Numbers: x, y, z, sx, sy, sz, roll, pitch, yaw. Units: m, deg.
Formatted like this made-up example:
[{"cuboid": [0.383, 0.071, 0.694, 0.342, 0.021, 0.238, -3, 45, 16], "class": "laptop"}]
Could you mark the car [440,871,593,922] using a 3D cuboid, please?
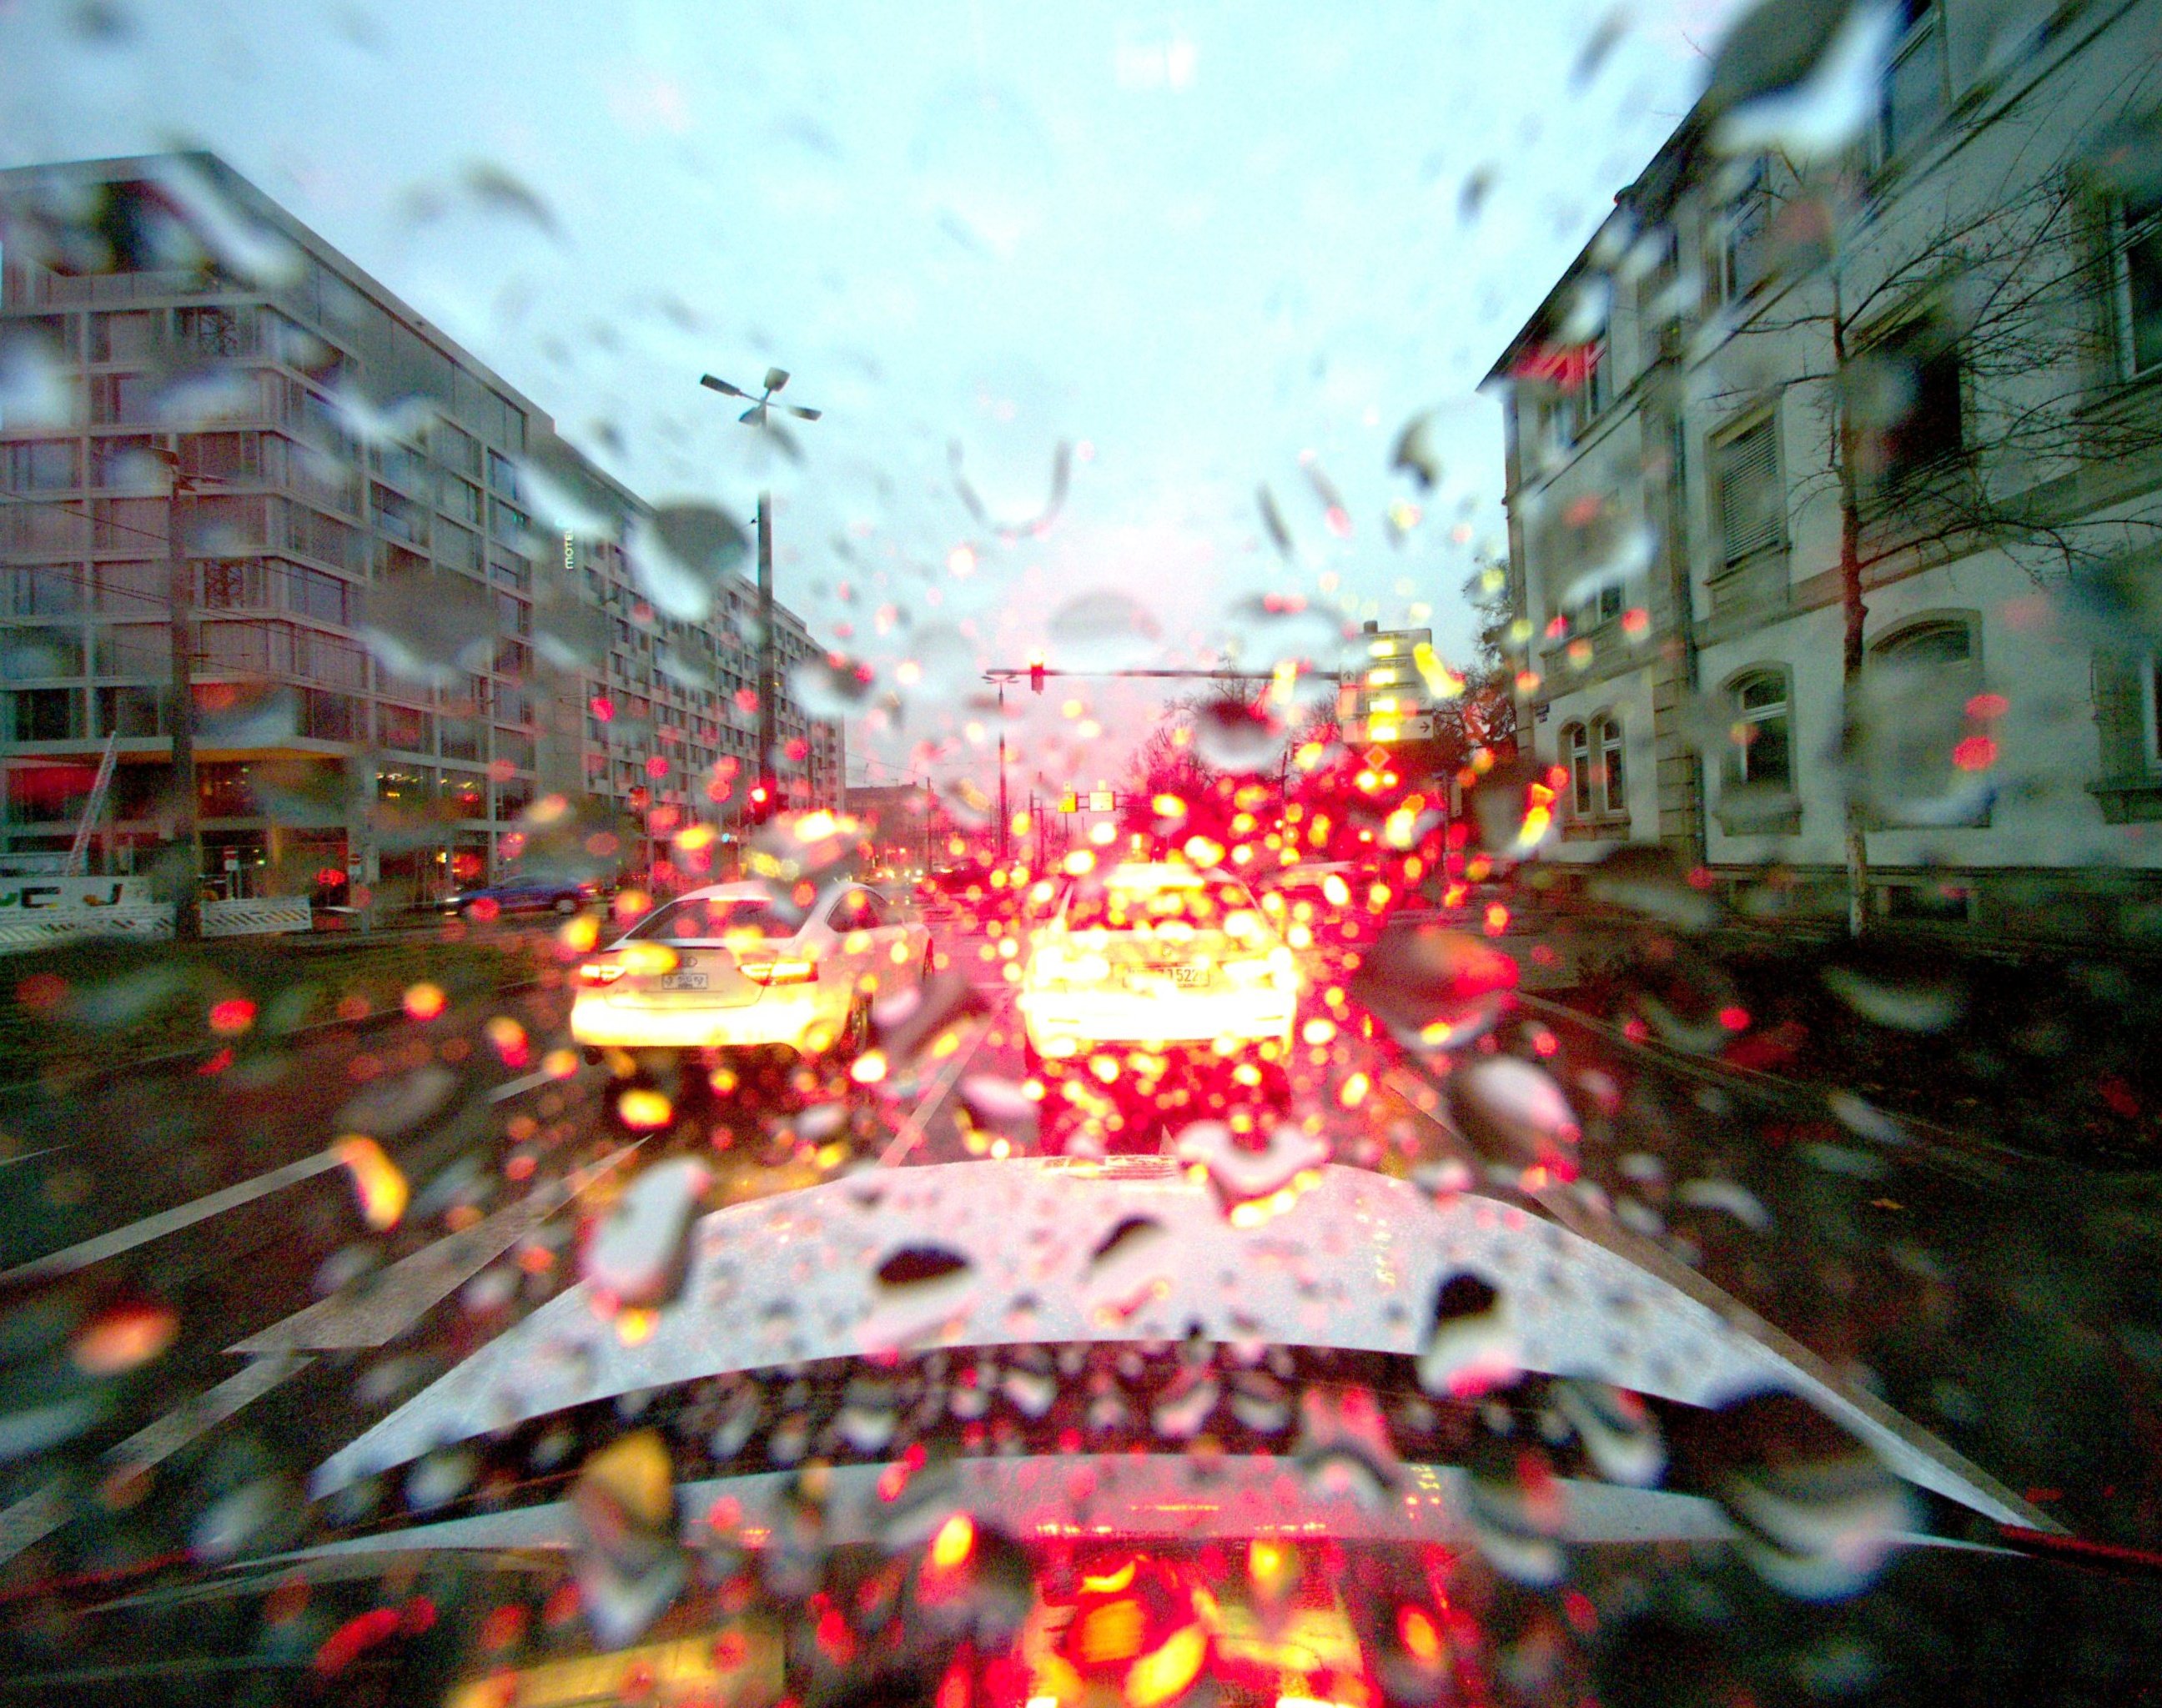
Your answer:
[{"cuboid": [-19.179, 1.399, 27.888, 4.006, 1.622, 1.705, 1, -1, -25], "class": "car"}]

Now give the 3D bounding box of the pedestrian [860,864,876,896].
[{"cuboid": [-11.715, 1.427, 44.770, 0.791, 1.712, 0.809, 0, -1, -13], "class": "pedestrian"}]

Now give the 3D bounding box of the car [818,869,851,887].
[{"cuboid": [-21.173, 2.071, 70.063, 1.669, 1.508, 3.697, 0, -1, 1], "class": "car"}]

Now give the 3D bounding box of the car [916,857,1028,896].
[{"cuboid": [-4.301, 0.904, 32.506, 4.070, 1.441, 1.843, -1, -1, 7], "class": "car"}]

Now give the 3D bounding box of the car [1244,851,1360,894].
[{"cuboid": [8.357, 0.706, 30.797, 4.060, 1.529, 1.848, -1, -1, 17], "class": "car"}]

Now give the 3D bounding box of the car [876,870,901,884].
[{"cuboid": [-20.621, 2.451, 87.185, 1.669, 1.508, 3.697, 0, -1, 1], "class": "car"}]

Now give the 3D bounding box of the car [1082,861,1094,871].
[{"cuboid": [1.170, 1.979, 135.797, 1.836, 1.609, 3.945, 0, -1, 1], "class": "car"}]

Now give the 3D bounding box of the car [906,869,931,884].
[{"cuboid": [-16.940, 2.358, 85.040, 1.669, 1.508, 3.697, 0, -1, 1], "class": "car"}]

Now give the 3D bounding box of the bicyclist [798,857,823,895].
[{"cuboid": [-12.664, 1.023, 38.161, 0.972, 1.759, 0.810, 0, -1, -10], "class": "bicyclist"}]

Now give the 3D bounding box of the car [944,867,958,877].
[{"cuboid": [-21.119, 2.944, 132.283, 1.669, 1.508, 3.697, 0, -1, 1], "class": "car"}]

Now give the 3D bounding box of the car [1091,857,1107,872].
[{"cuboid": [2.054, 1.211, 93.907, 1.836, 1.609, 3.945, 0, -1, 1], "class": "car"}]

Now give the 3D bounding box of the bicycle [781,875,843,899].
[{"cuboid": [-12.584, 1.534, 38.158, 2.667, 1.089, 0.812, 0, -1, -10], "class": "bicycle"}]

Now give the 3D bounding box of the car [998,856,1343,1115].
[{"cuboid": [0.527, 0.768, 6.924, 1.987, 1.456, 4.367, -1, 0, 0], "class": "car"}]

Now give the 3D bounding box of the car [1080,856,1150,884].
[{"cuboid": [1.718, 0.847, 42.811, 1.763, 1.402, 3.959, 1, -1, -32], "class": "car"}]

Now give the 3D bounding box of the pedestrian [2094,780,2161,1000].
[{"cuboid": [8.633, 0.260, 6.232, 0.867, 1.673, 0.705, -2, 0, -6], "class": "pedestrian"}]

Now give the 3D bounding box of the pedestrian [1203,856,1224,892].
[{"cuboid": [7.068, 1.055, 43.288, 0.894, 1.856, 0.817, -1, -1, 26], "class": "pedestrian"}]

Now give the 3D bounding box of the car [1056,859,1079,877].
[{"cuboid": [-1.200, 1.206, 71.165, 1.740, 1.554, 3.961, 0, -1, -4], "class": "car"}]

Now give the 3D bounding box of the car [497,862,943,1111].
[{"cuboid": [-2.596, 0.837, 7.217, 1.987, 1.456, 4.367, -1, 0, 0], "class": "car"}]
